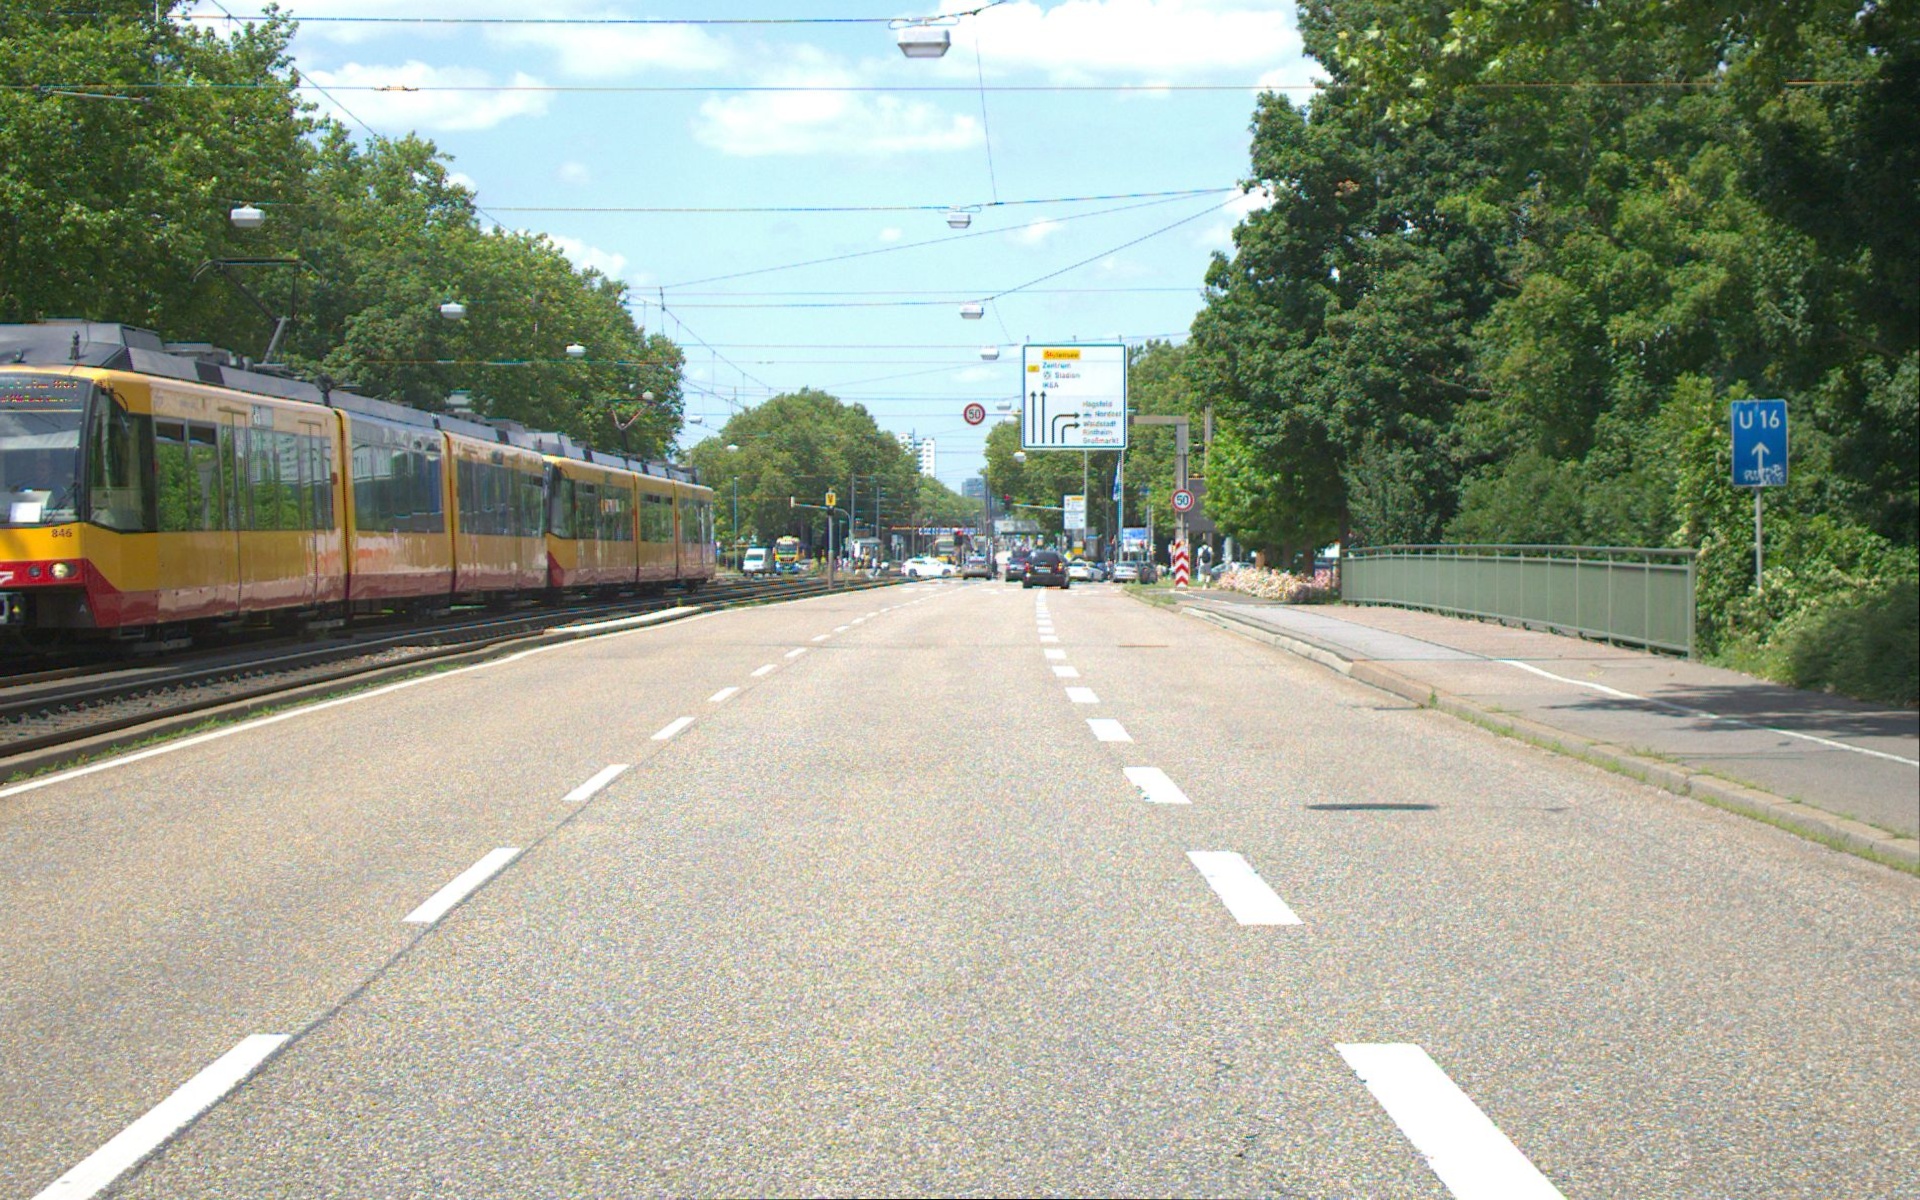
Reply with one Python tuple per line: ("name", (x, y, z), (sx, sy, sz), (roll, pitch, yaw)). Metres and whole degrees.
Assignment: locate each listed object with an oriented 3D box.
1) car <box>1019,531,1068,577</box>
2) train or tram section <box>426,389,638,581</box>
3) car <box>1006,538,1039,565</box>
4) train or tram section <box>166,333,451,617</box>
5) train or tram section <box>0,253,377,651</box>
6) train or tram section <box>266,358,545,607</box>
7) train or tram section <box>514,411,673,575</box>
("car", (3.454, -1.901, 142.450), (1.899, 1.799, 3.976), (2, 1, 0))
("train or tram section", (-9.906, -2.611, 81.204), (3.038, 4.140, 13.482), (0, 1, 1))
("car", (3.806, -2.969, 210.578), (1.876, 1.534, 3.777), (2, 1, 0))
("train or tram section", (-10.365, -1.951, 55.589), (3.048, 4.252, 8.003), (0, 1, 0))
("train or tram section", (-10.442, -1.733, 44.449), (3.048, 4.252, 15.423), (0, 1, 1))
("train or tram section", (-10.344, -2.156, 65.903), (3.048, 4.252, 14.037), (0, 1, 0))
("train or tram section", (-9.724, -2.804, 92.404), (3.038, 4.134, 10.233), (0, 1, 1))
